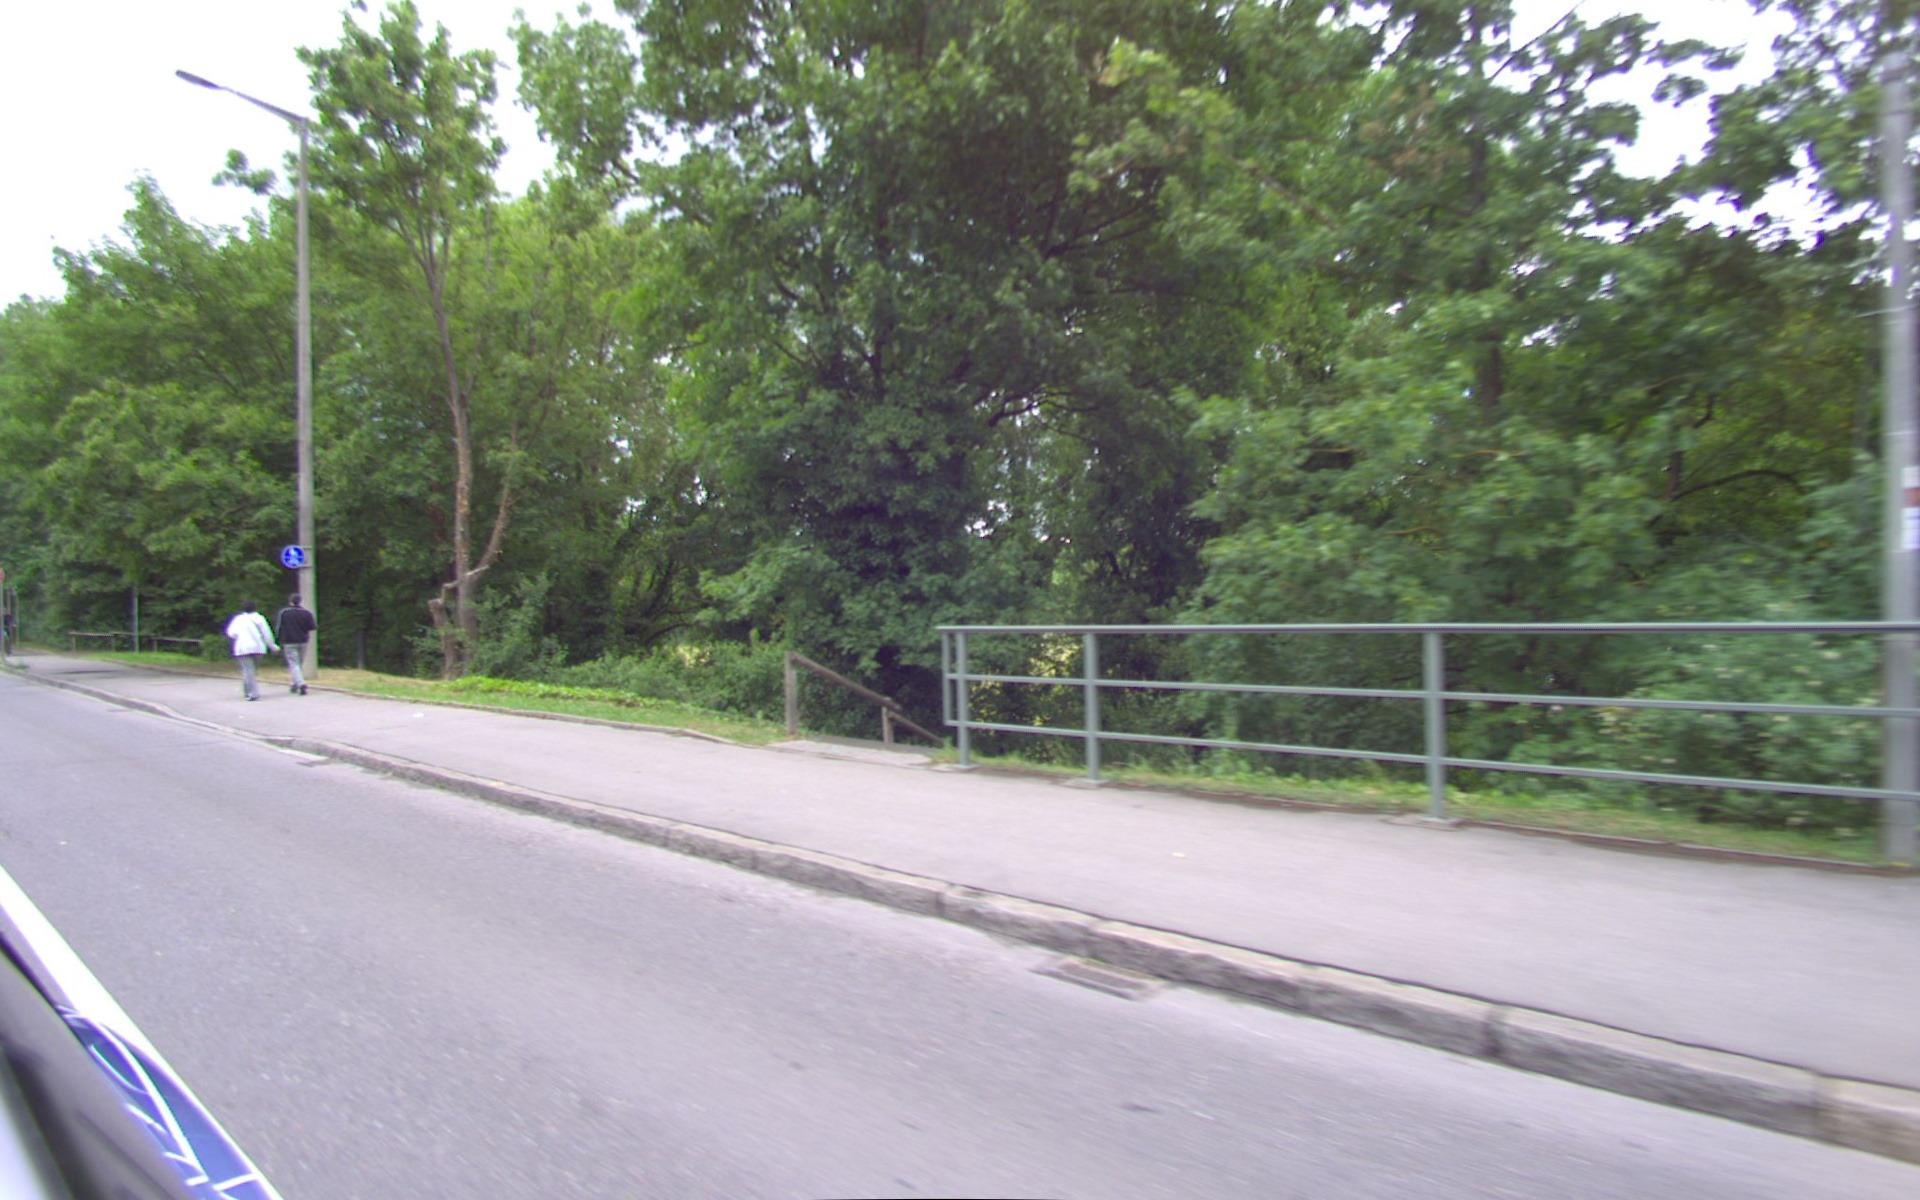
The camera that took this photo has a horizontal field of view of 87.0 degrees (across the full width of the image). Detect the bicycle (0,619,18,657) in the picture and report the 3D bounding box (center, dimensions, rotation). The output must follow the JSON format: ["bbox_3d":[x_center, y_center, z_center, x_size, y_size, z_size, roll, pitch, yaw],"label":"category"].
[{"bbox_3d":[-35.465,1.388,37.278,2.276,1.341,0.692,0,1,37],"label":"bicycle"}]

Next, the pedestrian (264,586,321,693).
[{"bbox_3d":[-11.736,0.683,17.791,0.821,1.817,0.581,-2,0,39],"label":"pedestrian"}]

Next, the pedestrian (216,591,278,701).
[{"bbox_3d":[-12.146,0.772,17.240,0.857,1.778,0.546,-2,3,39],"label":"pedestrian"}]

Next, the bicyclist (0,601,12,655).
[{"bbox_3d":[-35.637,1.037,37.412,0.834,1.963,0.680,-2,0,37],"label":"bicyclist"}]
